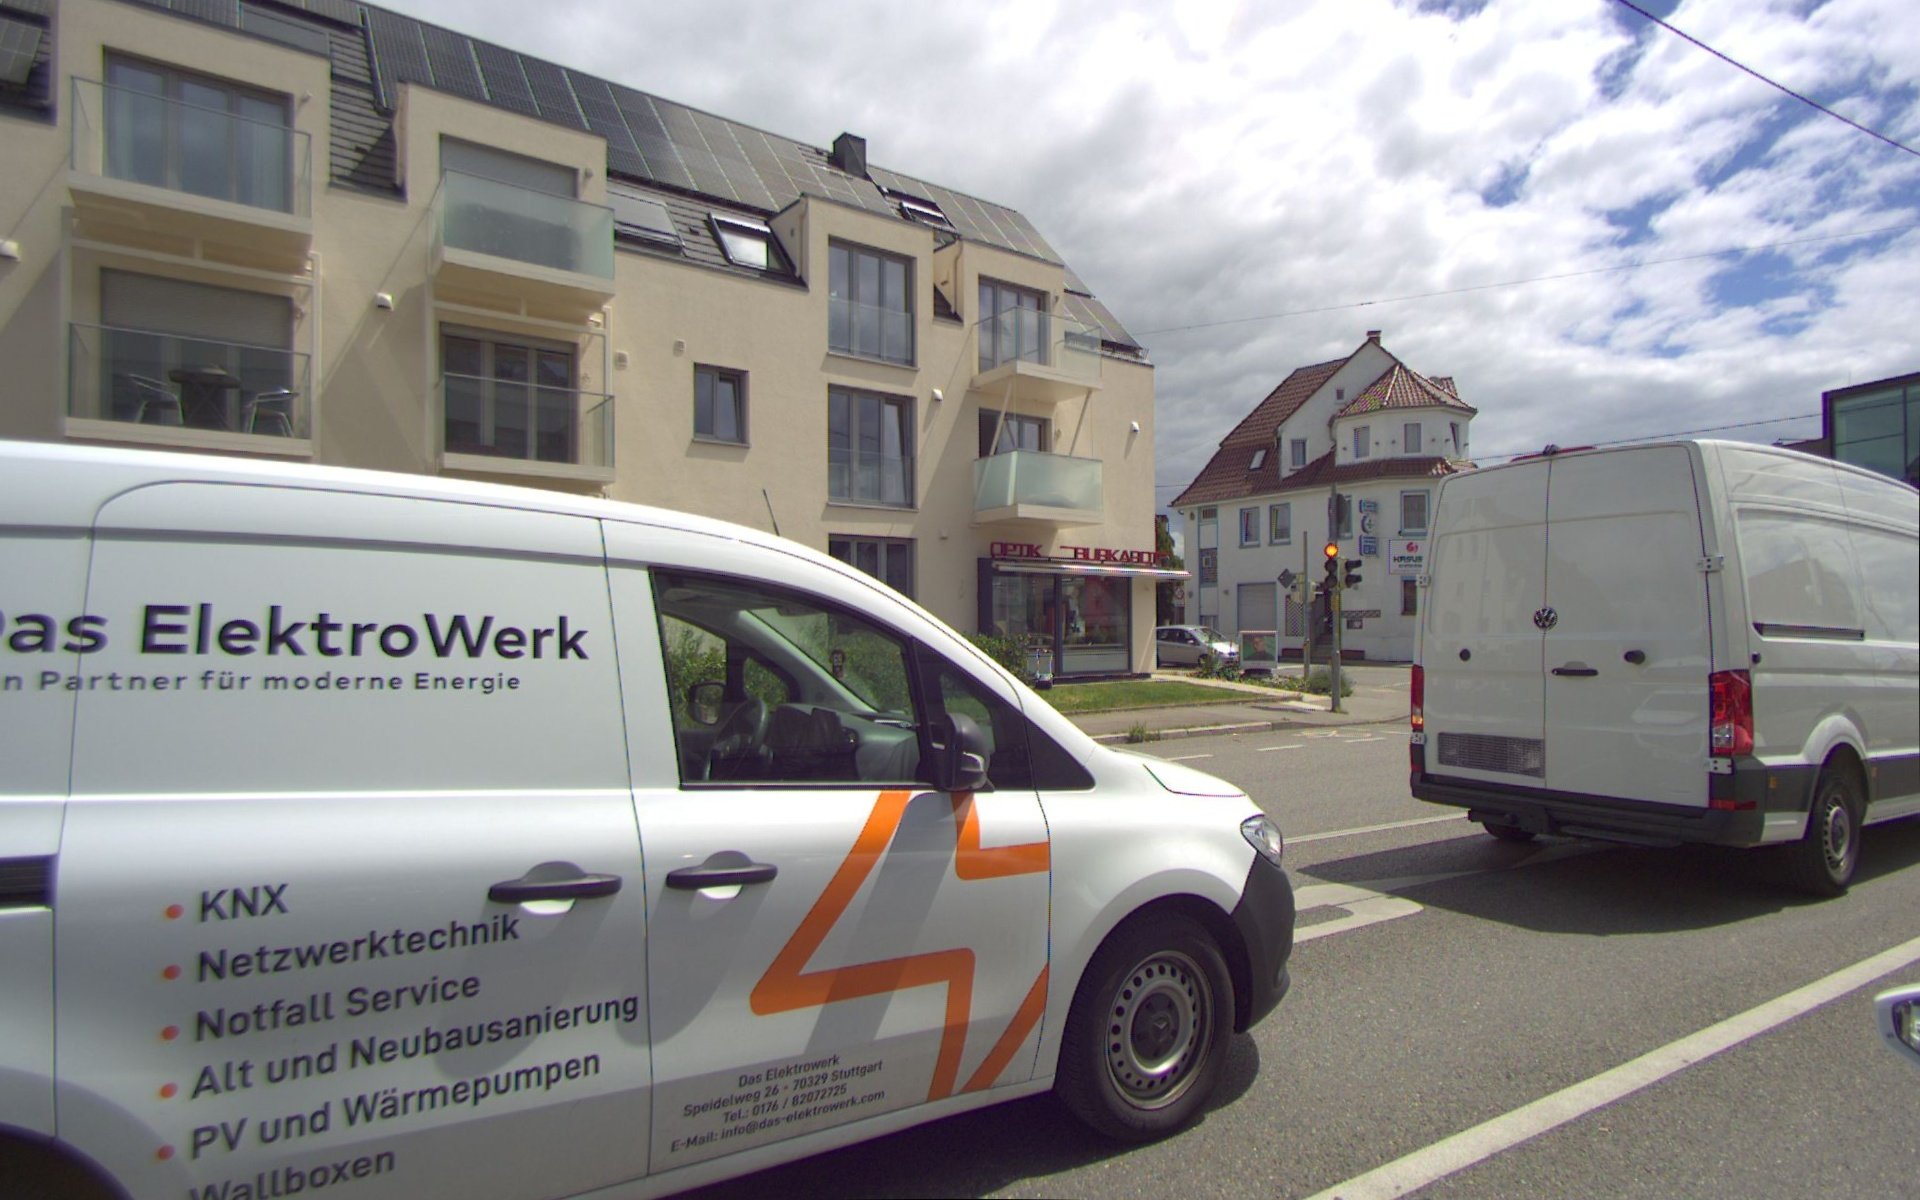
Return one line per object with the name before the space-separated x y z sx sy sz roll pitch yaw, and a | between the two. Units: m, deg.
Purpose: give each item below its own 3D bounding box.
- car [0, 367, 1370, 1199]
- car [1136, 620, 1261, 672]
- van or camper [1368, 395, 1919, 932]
car | -0.960 0.594 2.915 4.370 1.836 1.806 1 -1 -32
car | 8.382 1.566 35.536 1.982 1.706 3.957 1 -1 -37
van or camper | 5.634 0.389 7.323 5.584 2.620 2.096 1 -2 -33
